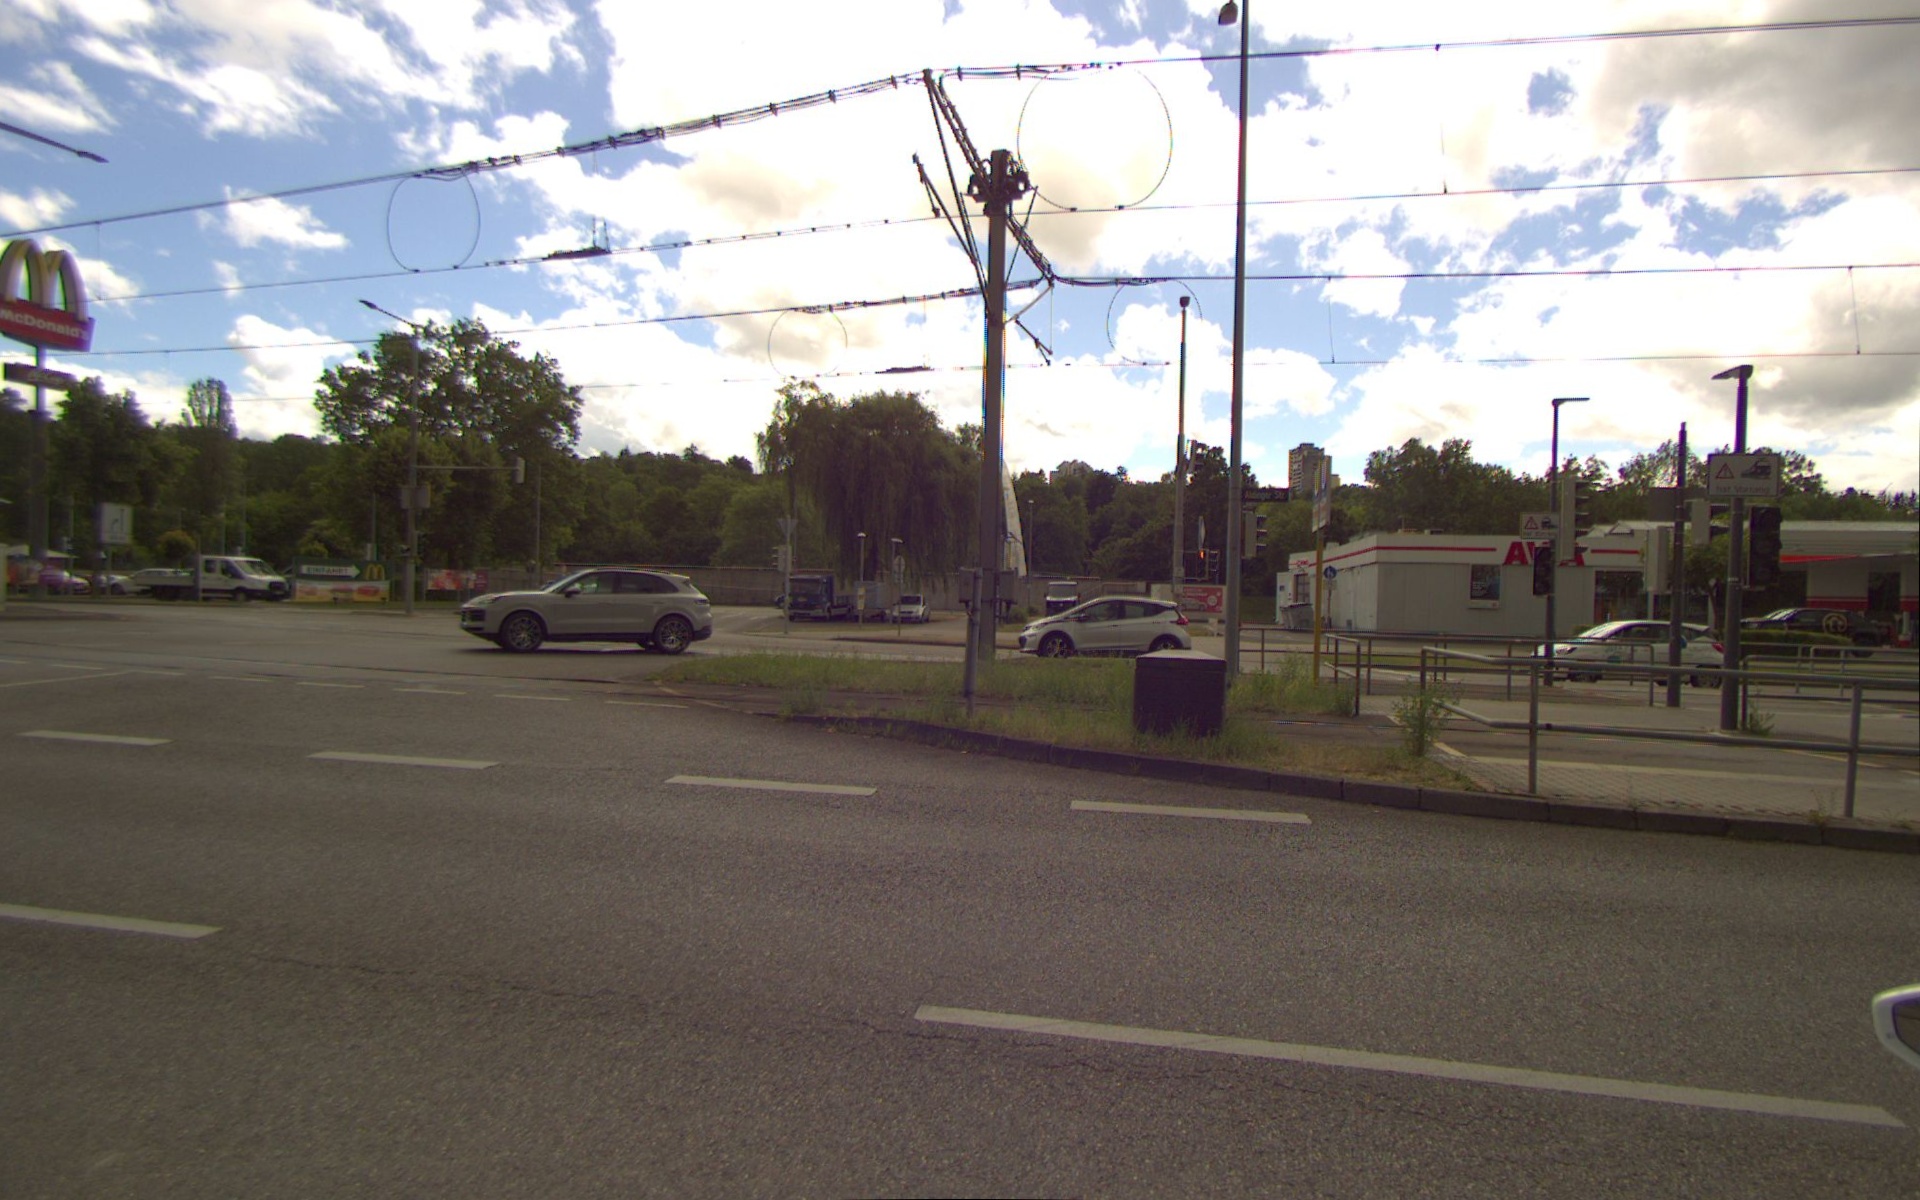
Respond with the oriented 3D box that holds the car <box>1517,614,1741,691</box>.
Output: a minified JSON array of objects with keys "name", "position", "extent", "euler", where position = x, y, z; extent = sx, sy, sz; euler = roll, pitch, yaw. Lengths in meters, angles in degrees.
[{"name":"car","position":[14.719,1.121,22.277],"extent":[3.751,1.473,1.633],"euler":[2,0,10]}]

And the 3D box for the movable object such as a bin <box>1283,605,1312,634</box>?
[{"name":"movable object such as a bin","position":[18.385,1.079,54.800],"extent":[1.345,1.503,1.105],"euler":[2,-1,14]}]

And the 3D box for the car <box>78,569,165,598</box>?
[{"name":"car","position":[-49.890,-0.966,59.763],"extent":[3.919,1.549,1.783],"euler":[2,-1,9]}]

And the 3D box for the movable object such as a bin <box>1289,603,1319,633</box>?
[{"name":"movable object such as a bin","position":[18.185,0.949,53.129],"extent":[1.345,1.514,1.105],"euler":[2,-1,14]}]

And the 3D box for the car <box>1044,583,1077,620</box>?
[{"name":"car","position":[6.107,0.134,60.601],"extent":[1.809,2.079,4.385],"euler":[2,-1,7]}]

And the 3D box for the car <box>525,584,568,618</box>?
[{"name":"car","position":[-19.460,0.012,47.307],"extent":[1.770,1.451,3.621],"euler":[2,1,-22]}]

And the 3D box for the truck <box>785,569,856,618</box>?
[{"name":"truck","position":[-7.819,-0.328,56.925],"extent":[2.338,2.527,5.829],"euler":[2,0,9]}]

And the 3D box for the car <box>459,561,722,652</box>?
[{"name":"car","position":[-7.457,0.172,20.454],"extent":[4.798,1.664,1.663],"euler":[2,0,-30]}]

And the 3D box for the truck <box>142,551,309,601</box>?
[{"name":"truck","position":[-34.094,-1.096,46.735],"extent":[6.072,1.930,2.603],"euler":[2,-1,7]}]

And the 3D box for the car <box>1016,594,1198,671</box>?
[{"name":"car","position":[3.429,0.754,23.946],"extent":[4.042,1.663,1.750],"euler":[1,0,0]}]

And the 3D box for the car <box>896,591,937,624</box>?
[{"name":"car","position":[-2.437,0.408,57.299],"extent":[1.720,1.766,3.859],"euler":[2,0,6]}]

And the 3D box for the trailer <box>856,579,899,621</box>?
[{"name":"trailer","position":[-4.758,0.040,58.536],"extent":[1.529,2.288,4.395],"euler":[2,-1,7]}]

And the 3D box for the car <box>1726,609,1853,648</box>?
[{"name":"car","position":[33.302,1.135,40.408],"extent":[3.562,1.368,1.619],"euler":[2,0,9]}]

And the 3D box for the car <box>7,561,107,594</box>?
[{"name":"car","position":[-49.206,-1.210,54.770],"extent":[3.919,1.540,1.926],"euler":[2,-1,9]}]
